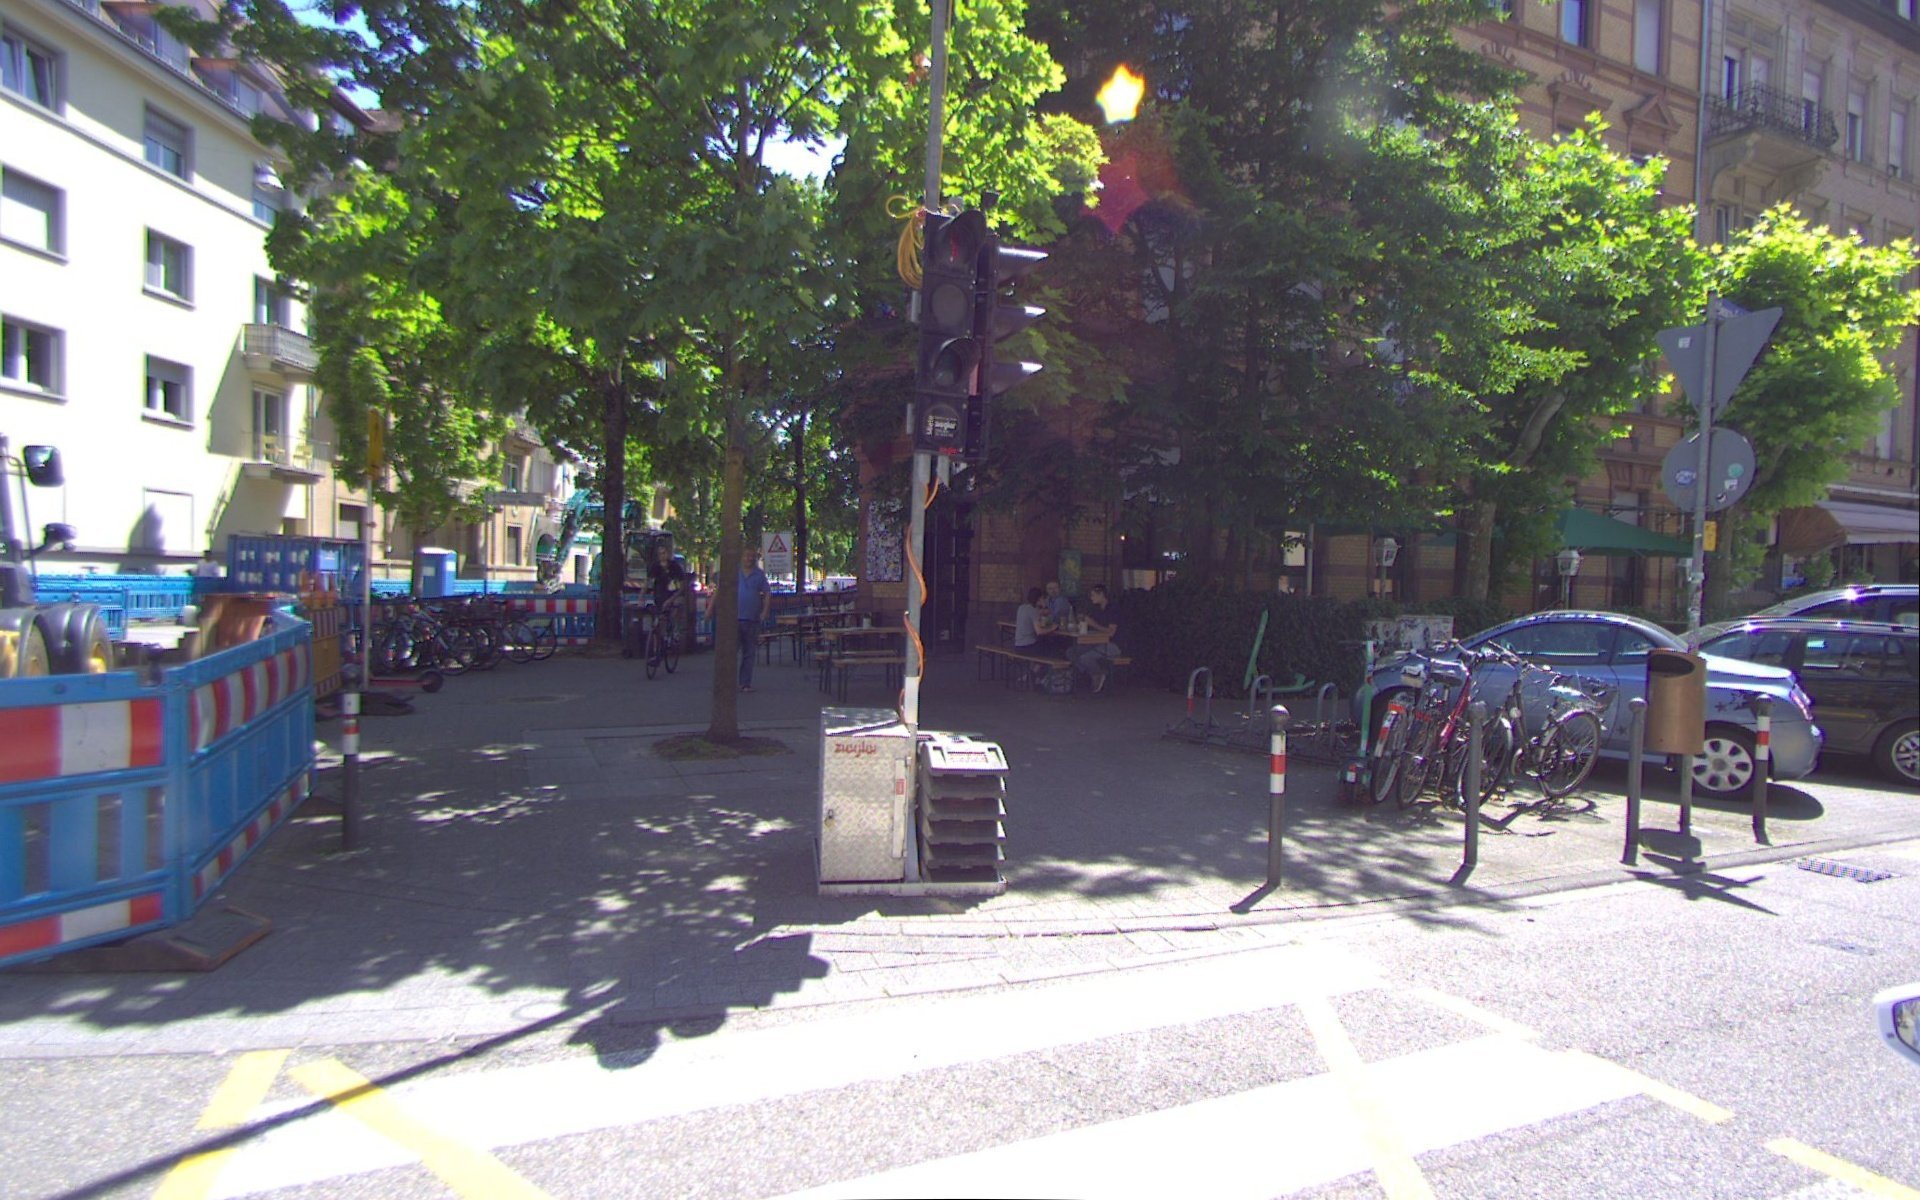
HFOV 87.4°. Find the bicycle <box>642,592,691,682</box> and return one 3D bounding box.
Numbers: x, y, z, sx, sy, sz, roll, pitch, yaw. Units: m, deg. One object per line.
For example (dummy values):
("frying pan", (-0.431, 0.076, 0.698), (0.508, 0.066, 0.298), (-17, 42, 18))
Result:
("bicycle", (-4.240, 0.486, 14.433), (0.592, 1.101, 2.278), (1, 2, -18))

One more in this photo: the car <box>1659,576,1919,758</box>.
("car", (10.433, 0.733, 11.447), (3.933, 1.829, 1.763), (4, 3, 35))

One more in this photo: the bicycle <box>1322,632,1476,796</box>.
("bicycle", (3.540, 0.865, 8.042), (1.605, 1.172, 0.335), (0, 3, -37))

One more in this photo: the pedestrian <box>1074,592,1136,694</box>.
("pedestrian", (1.835, 0.526, 12.682), (0.548, 1.236, 0.597), (2, 1, 32))

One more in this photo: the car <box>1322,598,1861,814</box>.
("car", (5.781, 0.798, 9.572), (3.936, 1.394, 1.992), (4, 3, 37))

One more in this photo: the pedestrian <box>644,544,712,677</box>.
("pedestrian", (-4.025, 0.128, 14.317), (0.851, 1.814, 1.004), (1, 3, -17))

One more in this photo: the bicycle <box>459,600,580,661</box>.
("bicycle", (-7.423, 0.513, 16.972), (1.779, 0.947, 0.490), (2, 1, -9))

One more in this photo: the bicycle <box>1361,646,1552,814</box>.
("bicycle", (3.863, 0.938, 7.748), (1.881, 1.096, 0.487), (1, 3, -37))

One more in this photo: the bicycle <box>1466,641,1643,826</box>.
("bicycle", (4.472, 0.937, 7.514), (1.669, 1.189, 0.487), (1, 3, -37))

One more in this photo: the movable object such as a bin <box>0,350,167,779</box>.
("movable object such as a bin", (-7.813, -0.238, 7.867), (1.933, 2.694, 4.519), (1, 0, -31))

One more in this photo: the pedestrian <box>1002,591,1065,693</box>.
("pedestrian", (0.927, 0.511, 12.617), (0.548, 1.236, 0.597), (2, 1, 32))

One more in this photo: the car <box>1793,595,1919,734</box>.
("car", (13.158, 0.885, 12.641), (3.944, 1.680, 1.749), (5, 3, 43))

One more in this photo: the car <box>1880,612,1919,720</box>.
("car", (15.093, 1.034, 13.746), (3.578, 1.477, 1.616), (5, 3, 42))

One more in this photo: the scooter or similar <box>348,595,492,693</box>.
("scooter or similar", (-6.447, 0.522, 12.060), (1.451, 1.121, 0.522), (1, 1, -24))

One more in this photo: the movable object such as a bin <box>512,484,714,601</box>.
("movable object such as a bin", (-10.823, -1.735, 32.192), (3.249, 3.256, 6.751), (2, 1, 9))

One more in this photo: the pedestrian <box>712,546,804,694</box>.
("pedestrian", (-2.471, 0.231, 12.266), (0.919, 1.727, 0.634), (1, 3, -28))

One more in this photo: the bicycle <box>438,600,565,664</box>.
("bicycle", (-7.381, 0.514, 16.225), (1.779, 1.002, 0.490), (0, 2, -9))

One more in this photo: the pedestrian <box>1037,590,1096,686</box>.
("pedestrian", (1.433, 0.498, 13.450), (0.548, 1.236, 0.597), (2, 1, 32))

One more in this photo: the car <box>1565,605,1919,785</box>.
("car", (8.576, 0.897, 10.276), (3.933, 1.431, 1.965), (4, 3, 34))

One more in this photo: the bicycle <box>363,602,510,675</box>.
("bicycle", (-7.472, 0.545, 14.397), (1.779, 0.976, 0.490), (2, 1, -9))

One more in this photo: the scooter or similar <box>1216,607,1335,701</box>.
("scooter or similar", (3.938, 0.674, 12.514), (1.446, 1.136, 0.278), (1, 4, -16))
